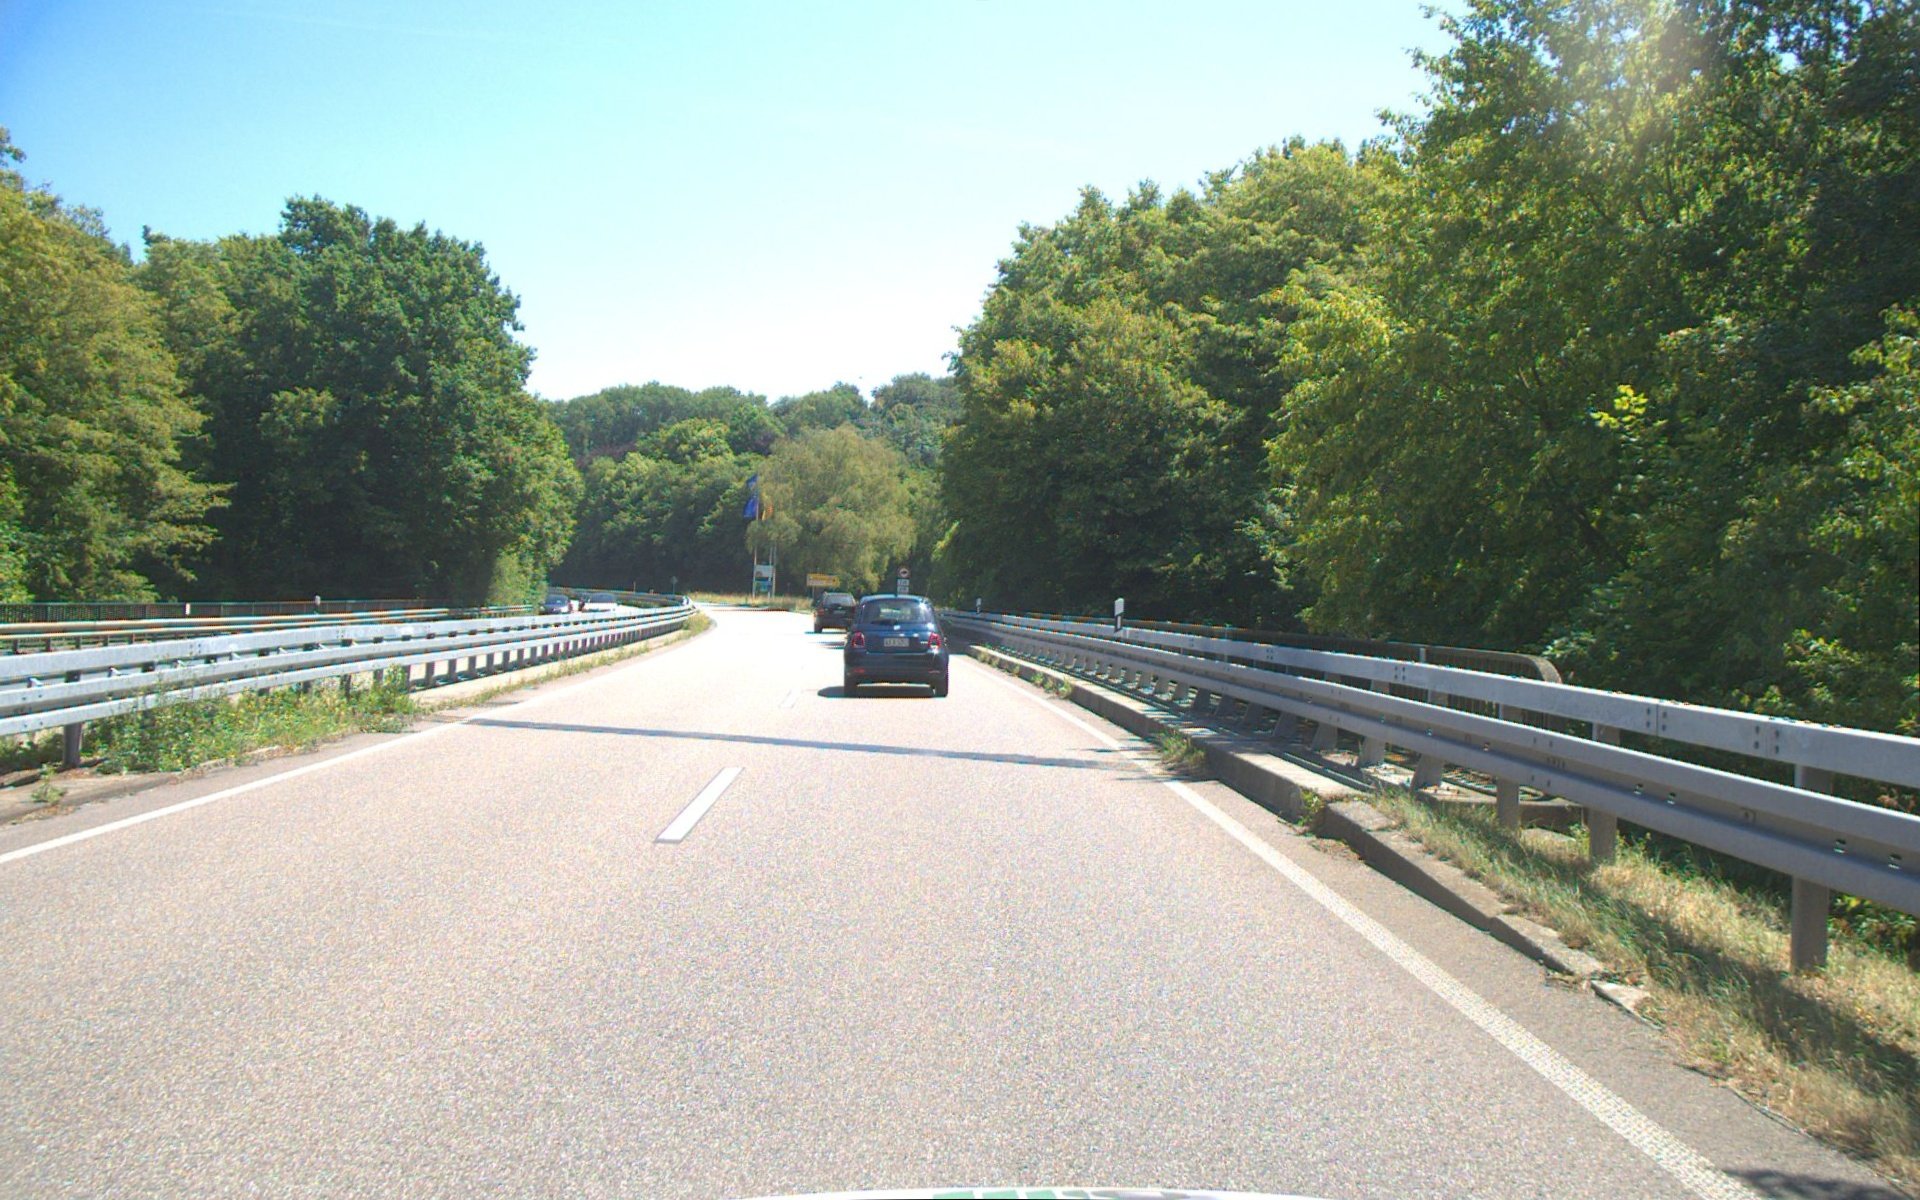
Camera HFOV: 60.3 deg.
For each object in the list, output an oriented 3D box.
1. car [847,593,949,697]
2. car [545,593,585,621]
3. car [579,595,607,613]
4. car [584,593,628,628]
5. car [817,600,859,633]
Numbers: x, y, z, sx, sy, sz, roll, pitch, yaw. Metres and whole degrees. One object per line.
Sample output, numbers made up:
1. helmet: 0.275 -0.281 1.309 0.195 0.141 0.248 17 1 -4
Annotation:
1. car: -0.946 0.652 25.954 1.483 1.527 3.589 0 0 -1
2. car: -21.700 0.372 90.993 1.619 1.555 3.993 0 0 -6
3. car: -31.181 0.334 140.584 1.722 1.555 4.679 0 0 -6
4. car: -17.291 0.500 81.012 1.619 1.634 4.214 0 0 -6
5. car: -5.138 0.680 69.361 1.497 1.336 3.408 0 0 -9
